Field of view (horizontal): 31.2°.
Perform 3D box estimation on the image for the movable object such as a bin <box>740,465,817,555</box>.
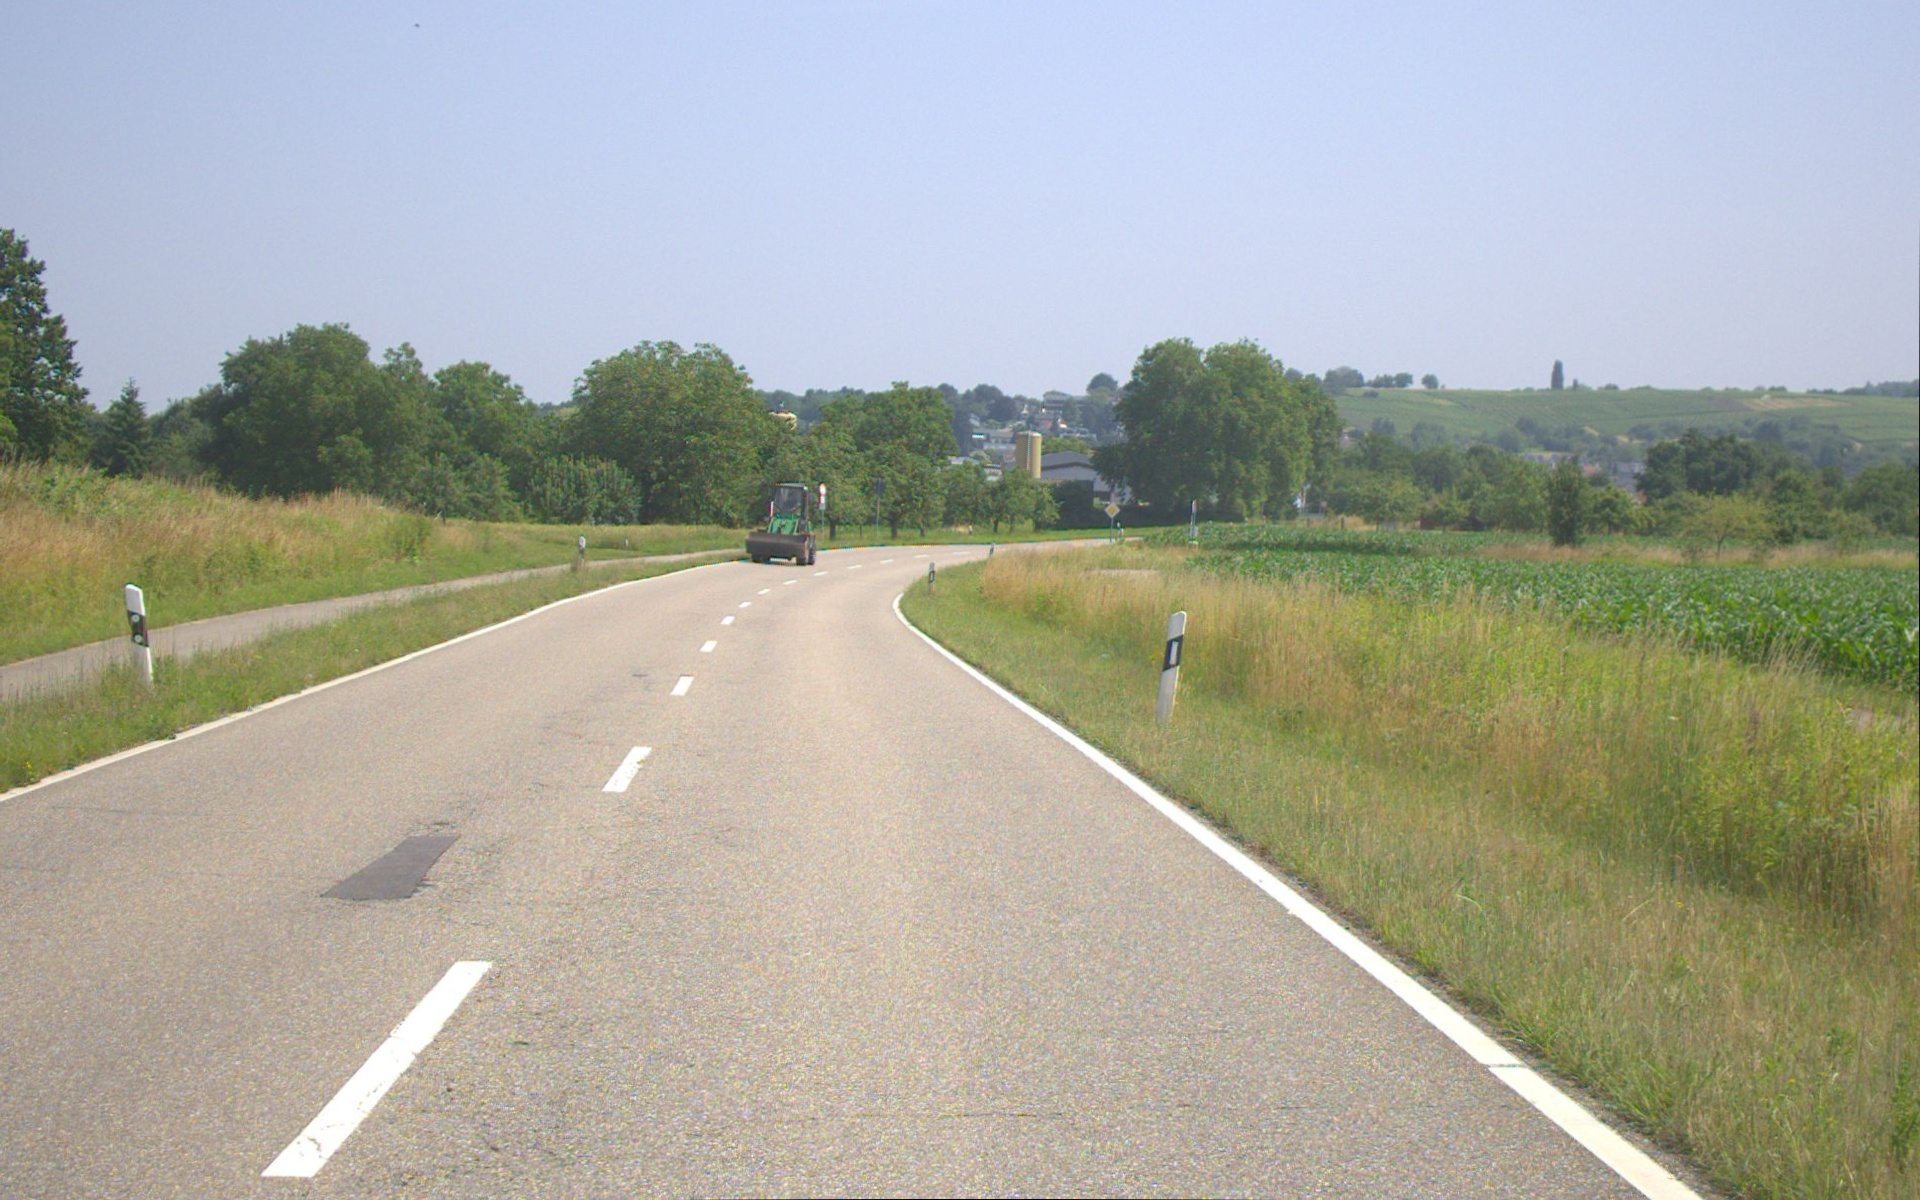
[{"bbox_3d":[-5.975,-2.986,113.691,2.001,2.745,5.230,4,2,1],"label":"movable object such as a bin"}]
